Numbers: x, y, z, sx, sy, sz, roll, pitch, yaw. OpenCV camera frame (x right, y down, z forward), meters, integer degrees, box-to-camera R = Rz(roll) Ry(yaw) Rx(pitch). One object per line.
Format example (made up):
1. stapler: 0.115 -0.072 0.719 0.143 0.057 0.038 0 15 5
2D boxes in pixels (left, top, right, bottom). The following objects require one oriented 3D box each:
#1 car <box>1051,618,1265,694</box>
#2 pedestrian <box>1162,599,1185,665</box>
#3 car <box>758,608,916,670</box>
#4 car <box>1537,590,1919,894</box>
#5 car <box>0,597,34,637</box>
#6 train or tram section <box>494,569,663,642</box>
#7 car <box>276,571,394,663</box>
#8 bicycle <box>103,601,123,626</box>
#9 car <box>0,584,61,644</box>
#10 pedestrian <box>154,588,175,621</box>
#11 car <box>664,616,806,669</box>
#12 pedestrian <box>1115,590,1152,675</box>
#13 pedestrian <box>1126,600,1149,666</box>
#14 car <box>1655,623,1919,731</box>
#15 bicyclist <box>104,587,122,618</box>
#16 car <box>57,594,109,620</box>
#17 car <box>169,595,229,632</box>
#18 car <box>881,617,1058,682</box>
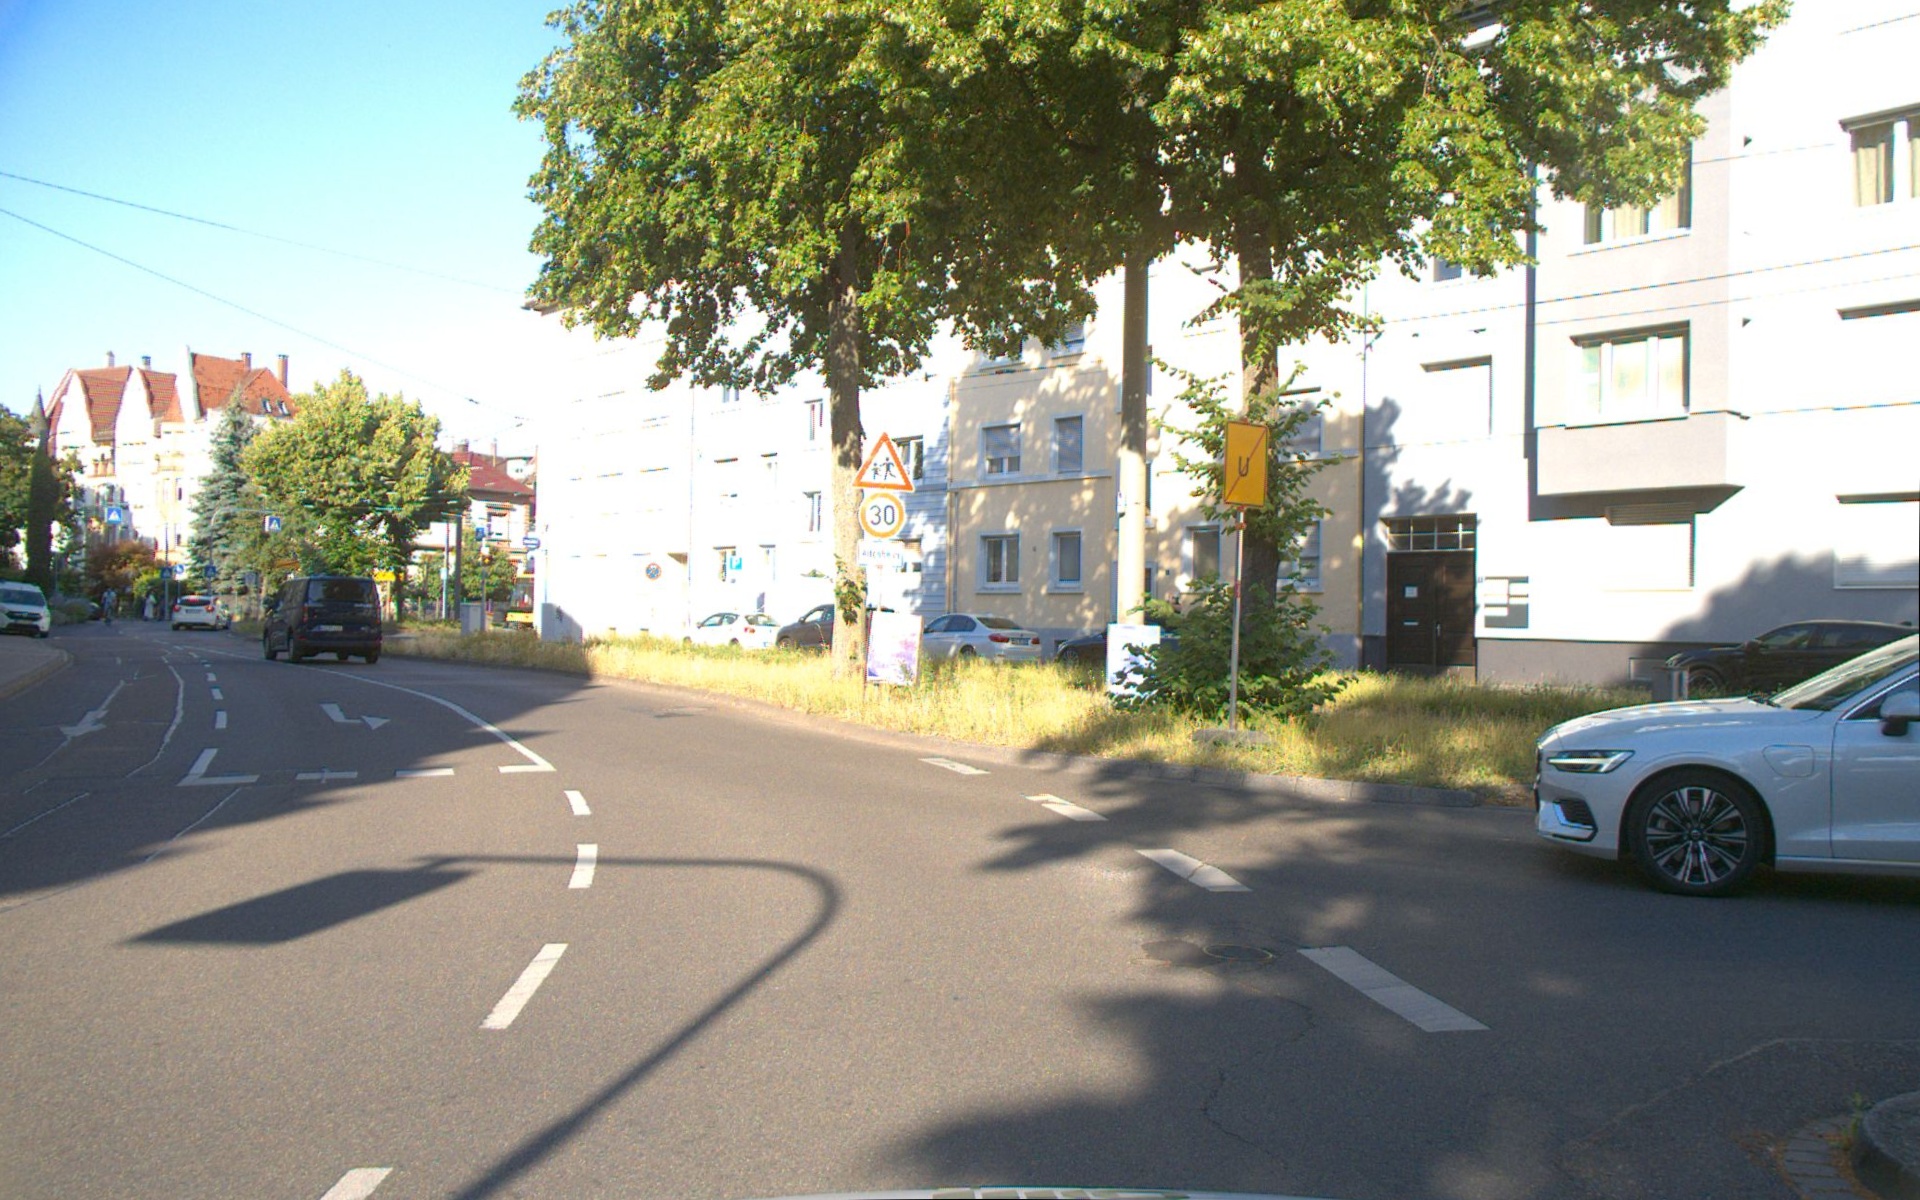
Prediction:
1. car: 4.164 1.147 35.361 1.982 1.411 4.380 1 0 -41
2. pedestrian: 5.048 0.758 39.058 0.435 1.541 0.303 0 0 42
3. car: -3.383 1.028 44.963 1.982 1.600 4.572 1 -1 -41
4. car: 5.622 0.737 8.972 4.657 1.489 1.855 1 0 19
5. car: -38.481 0.653 66.614 1.688 1.492 4.553 4 -1 -26
6. train or tram section: -19.864 0.356 86.902 2.722 3.618 9.904 1 -1 28
7. car: -15.024 0.391 39.665 1.973 2.049 3.959 2 -1 -30
8. bicycle: -38.529 0.607 75.241 0.617 1.100 1.763 1 -1 -33
9. car: -32.626 0.492 57.463 1.797 1.902 4.276 4 -3 -36
10. pedestrian: -41.455 0.229 86.147 0.860 1.687 0.898 4 -3 -29
11. car: -6.695 1.214 48.954 1.985 1.411 4.375 1 0 -44
12. pedestrian: 4.269 0.798 40.598 0.608 2.049 0.640 2 -2 -41
13. pedestrian: 4.184 0.771 38.994 0.330 1.541 0.436 1 0 -45
14. car: 13.032 1.110 24.839 1.982 1.411 4.380 1 0 -41
15. bicyclist: -38.532 0.118 75.255 0.617 1.404 0.792 1 -1 -33
16. car: -57.763 0.451 108.911 1.984 1.624 3.935 3 -2 -44
17. car: -32.542 0.576 70.810 1.928 1.531 3.666 0 0 -18
18. car: 0.178 1.180 40.614 1.982 1.411 4.380 1 0 -41
